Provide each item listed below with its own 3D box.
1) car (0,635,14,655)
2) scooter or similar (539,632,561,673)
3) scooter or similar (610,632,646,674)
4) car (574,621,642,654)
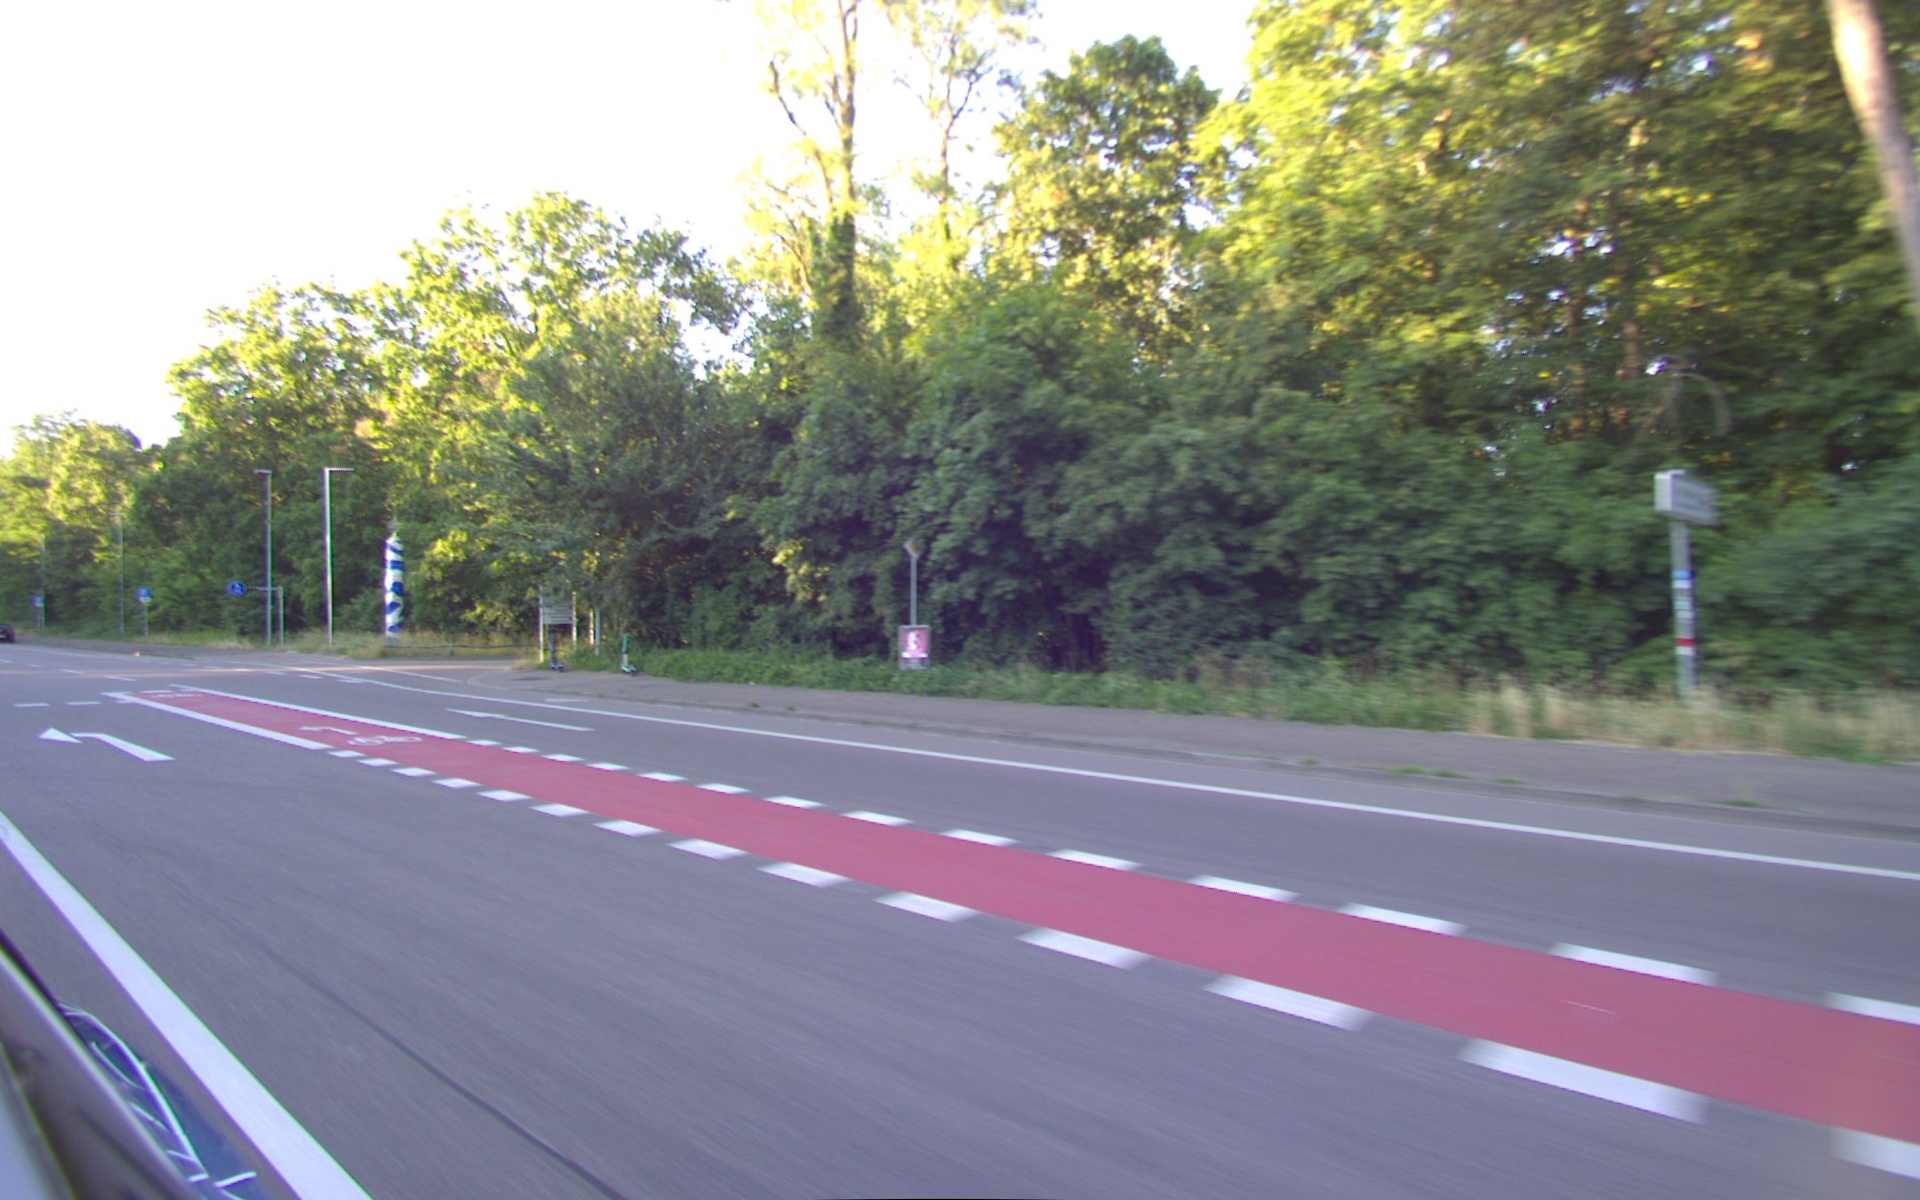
[{"bbox_3d":[-69.968,3.230,72.997,4.234,1.473,1.672,-1,-3,36],"label":"car"},{"bbox_3d":[-11.438,1.469,28.278,0.356,1.118,0.881,0,-1,-7],"label":"scooter or similar"},{"bbox_3d":[-8.624,1.365,26.327,0.491,1.076,0.895,-1,-2,16],"label":"scooter or similar"},{"bbox_3d":[-16.719,1.759,48.003,3.343,1.463,1.725,-2,-2,43],"label":"car"}]
